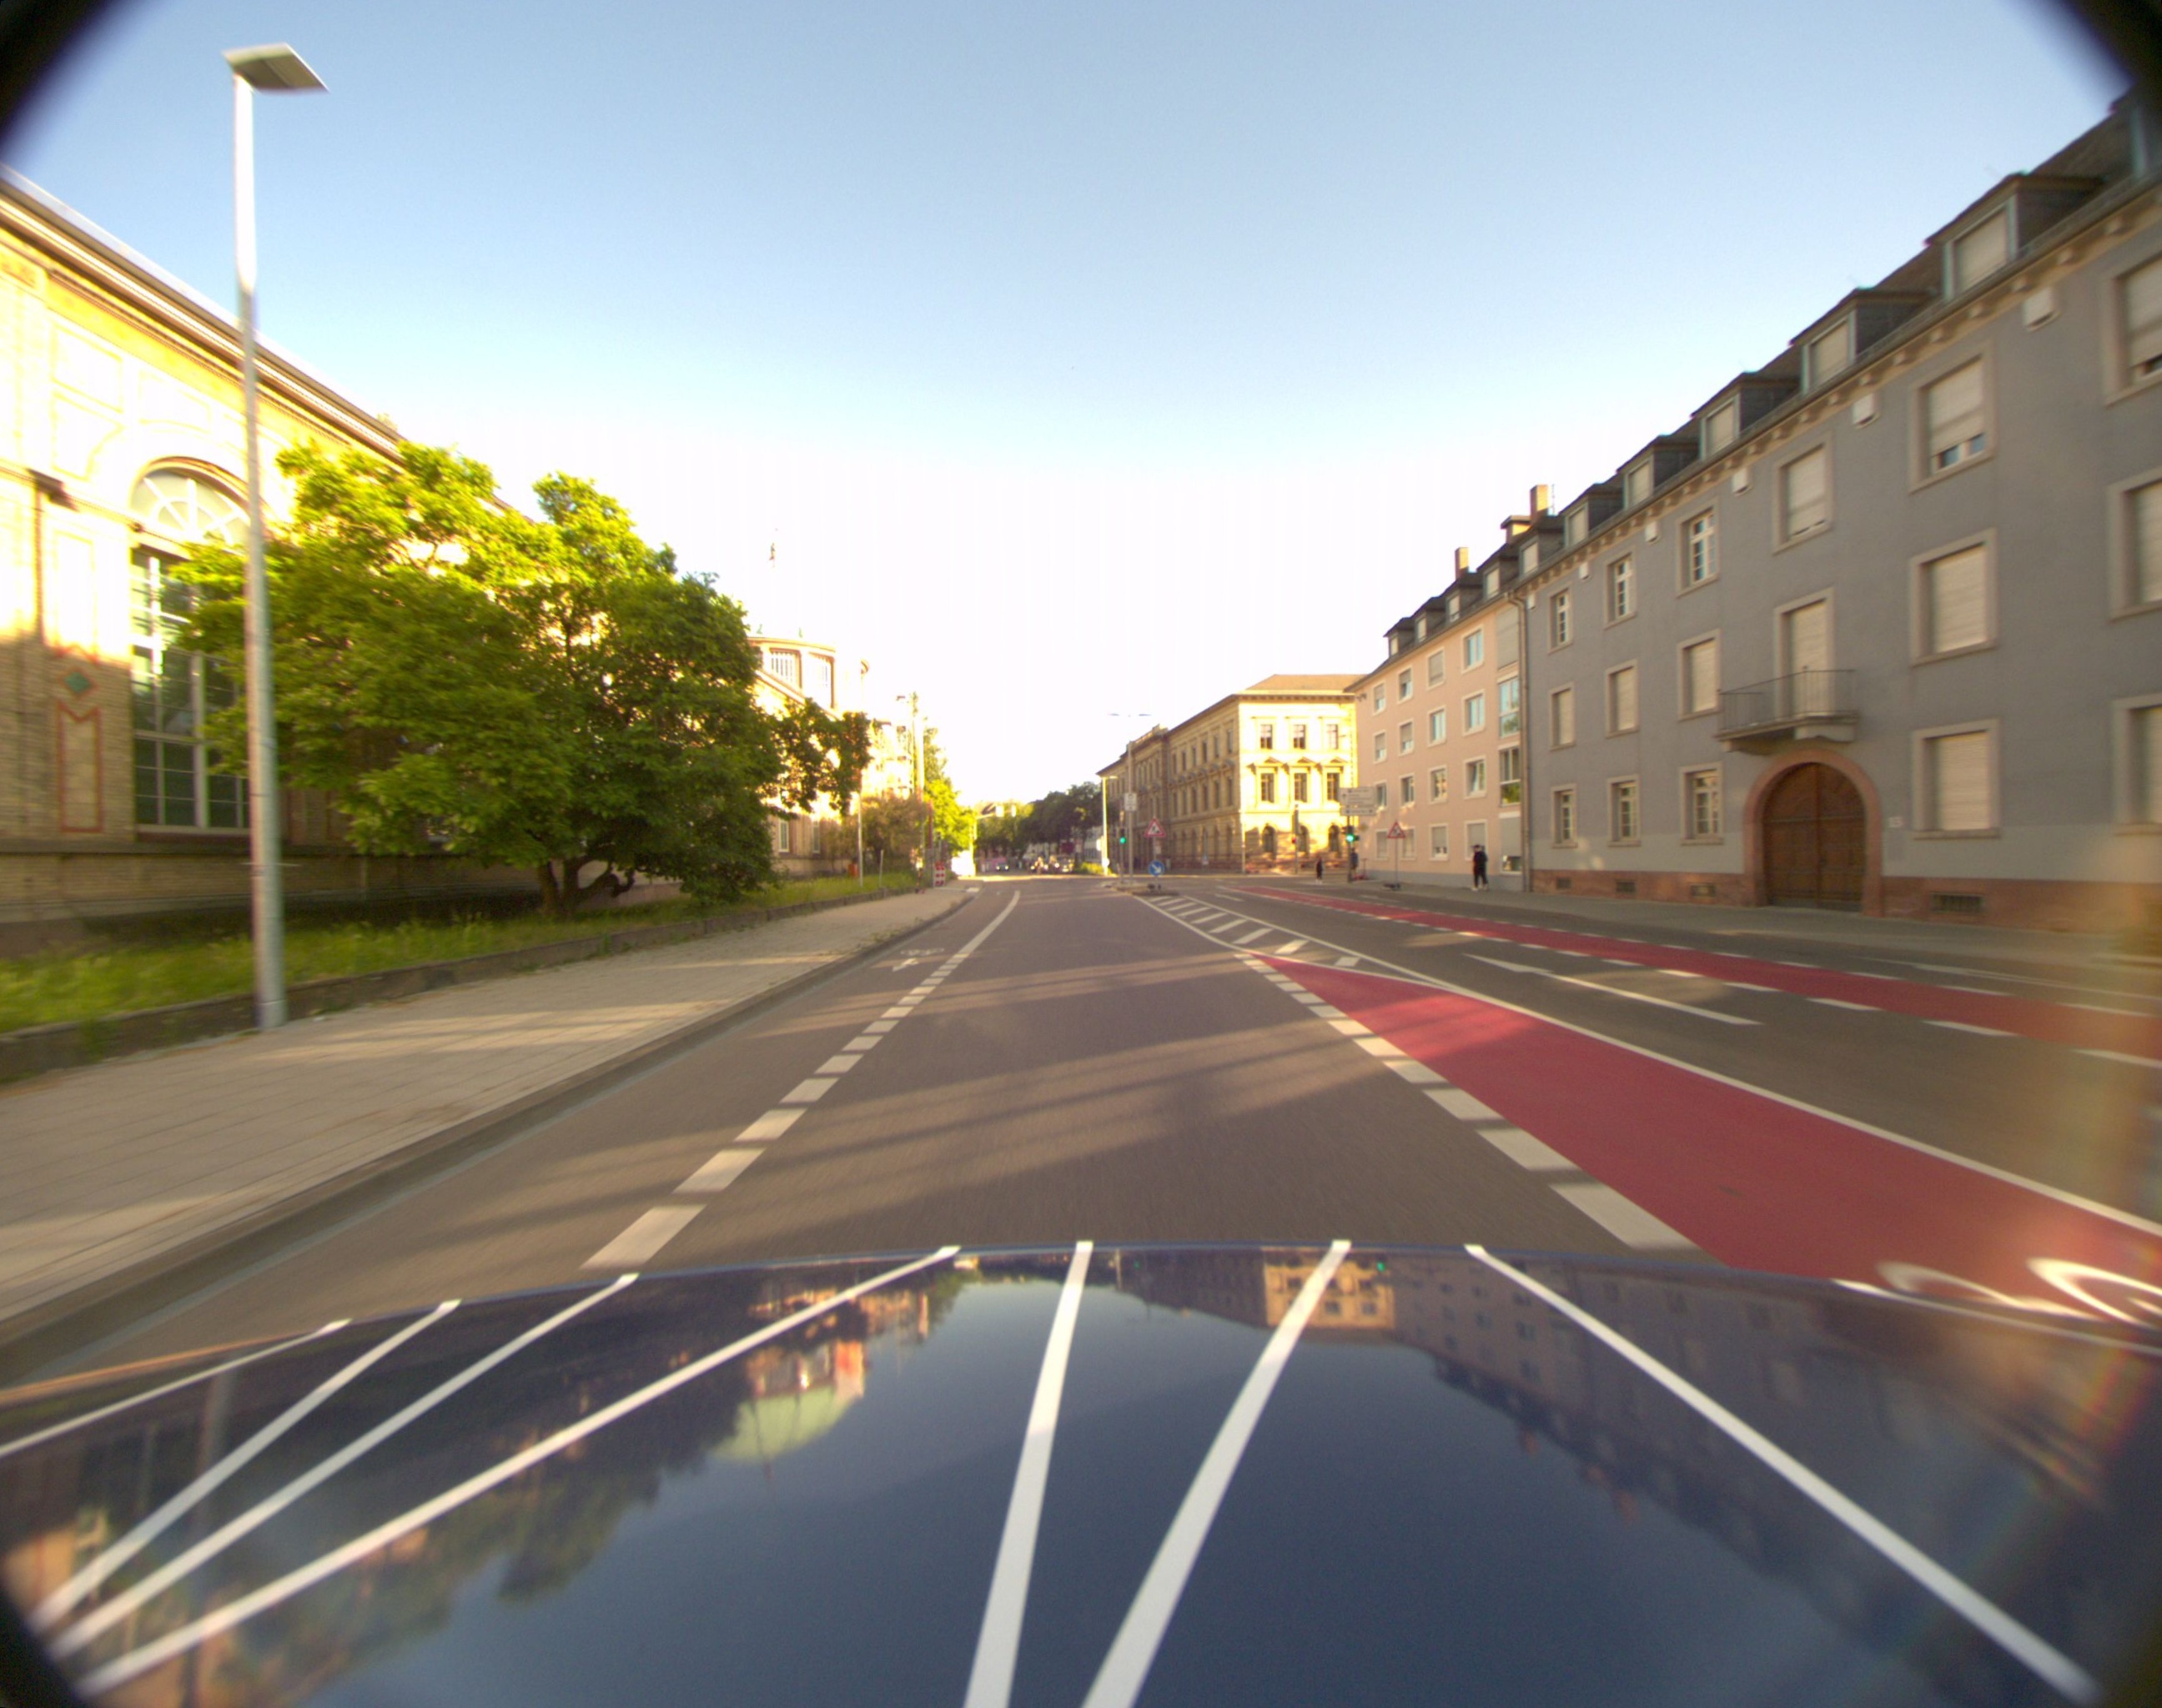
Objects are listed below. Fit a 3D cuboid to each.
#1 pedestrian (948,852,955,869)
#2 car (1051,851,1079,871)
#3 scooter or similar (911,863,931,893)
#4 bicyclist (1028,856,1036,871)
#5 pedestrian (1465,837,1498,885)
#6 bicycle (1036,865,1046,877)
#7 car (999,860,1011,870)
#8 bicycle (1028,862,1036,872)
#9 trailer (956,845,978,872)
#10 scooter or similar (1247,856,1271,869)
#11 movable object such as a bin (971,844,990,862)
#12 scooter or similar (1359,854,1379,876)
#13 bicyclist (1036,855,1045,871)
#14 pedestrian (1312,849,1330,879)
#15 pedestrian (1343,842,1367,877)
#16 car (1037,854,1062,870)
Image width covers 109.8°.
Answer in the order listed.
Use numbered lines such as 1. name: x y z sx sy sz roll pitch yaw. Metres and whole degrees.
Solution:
1. pedestrian: -14.712 0.731 86.382 0.717 1.883 0.889 0 0 -11
2. car: -1.696 0.705 76.613 2.075 1.904 5.028 -1 1 -10
3. scooter or similar: -7.481 1.108 35.561 0.557 1.301 1.832 -1 0 -1
4. bicyclist: -5.441 1.064 84.494 0.674 1.643 0.886 -2 1 -9
5. pedestrian: 15.913 0.286 30.200 0.633 1.836 1.013 -4 1 -1
6. bicycle: -3.950 1.632 74.741 0.831 1.136 1.968 -2 0 -7
7. car: -10.986 1.569 109.645 1.555 1.288 3.634 2 0 -10
8. bicycle: -5.433 1.411 84.459 0.671 1.066 1.751 -2 0 -8
9. trailer: -11.187 0.437 74.956 2.086 2.513 4.489 1 0 -8
10. scooter or similar: 15.954 0.747 67.976 2.029 1.181 0.457 -1 0 20
11. movable object such as a bin: -18.731 -0.106 141.104 3.173 3.281 4.381 -1 0 -12
12. scooter or similar: 16.081 0.588 42.412 0.534 1.178 1.474 -2 0 0
13. bicyclist: -3.964 0.864 74.816 0.805 1.599 0.824 -1 1 -7
14. pedestrian: 13.466 0.556 42.645 0.633 1.574 0.818 -4 1 -1
15. pedestrian: 15.253 0.312 42.329 0.870 1.852 1.015 -4 0 0
16. car: -3.610 0.945 86.550 1.998 1.739 4.742 -1 0 -12
